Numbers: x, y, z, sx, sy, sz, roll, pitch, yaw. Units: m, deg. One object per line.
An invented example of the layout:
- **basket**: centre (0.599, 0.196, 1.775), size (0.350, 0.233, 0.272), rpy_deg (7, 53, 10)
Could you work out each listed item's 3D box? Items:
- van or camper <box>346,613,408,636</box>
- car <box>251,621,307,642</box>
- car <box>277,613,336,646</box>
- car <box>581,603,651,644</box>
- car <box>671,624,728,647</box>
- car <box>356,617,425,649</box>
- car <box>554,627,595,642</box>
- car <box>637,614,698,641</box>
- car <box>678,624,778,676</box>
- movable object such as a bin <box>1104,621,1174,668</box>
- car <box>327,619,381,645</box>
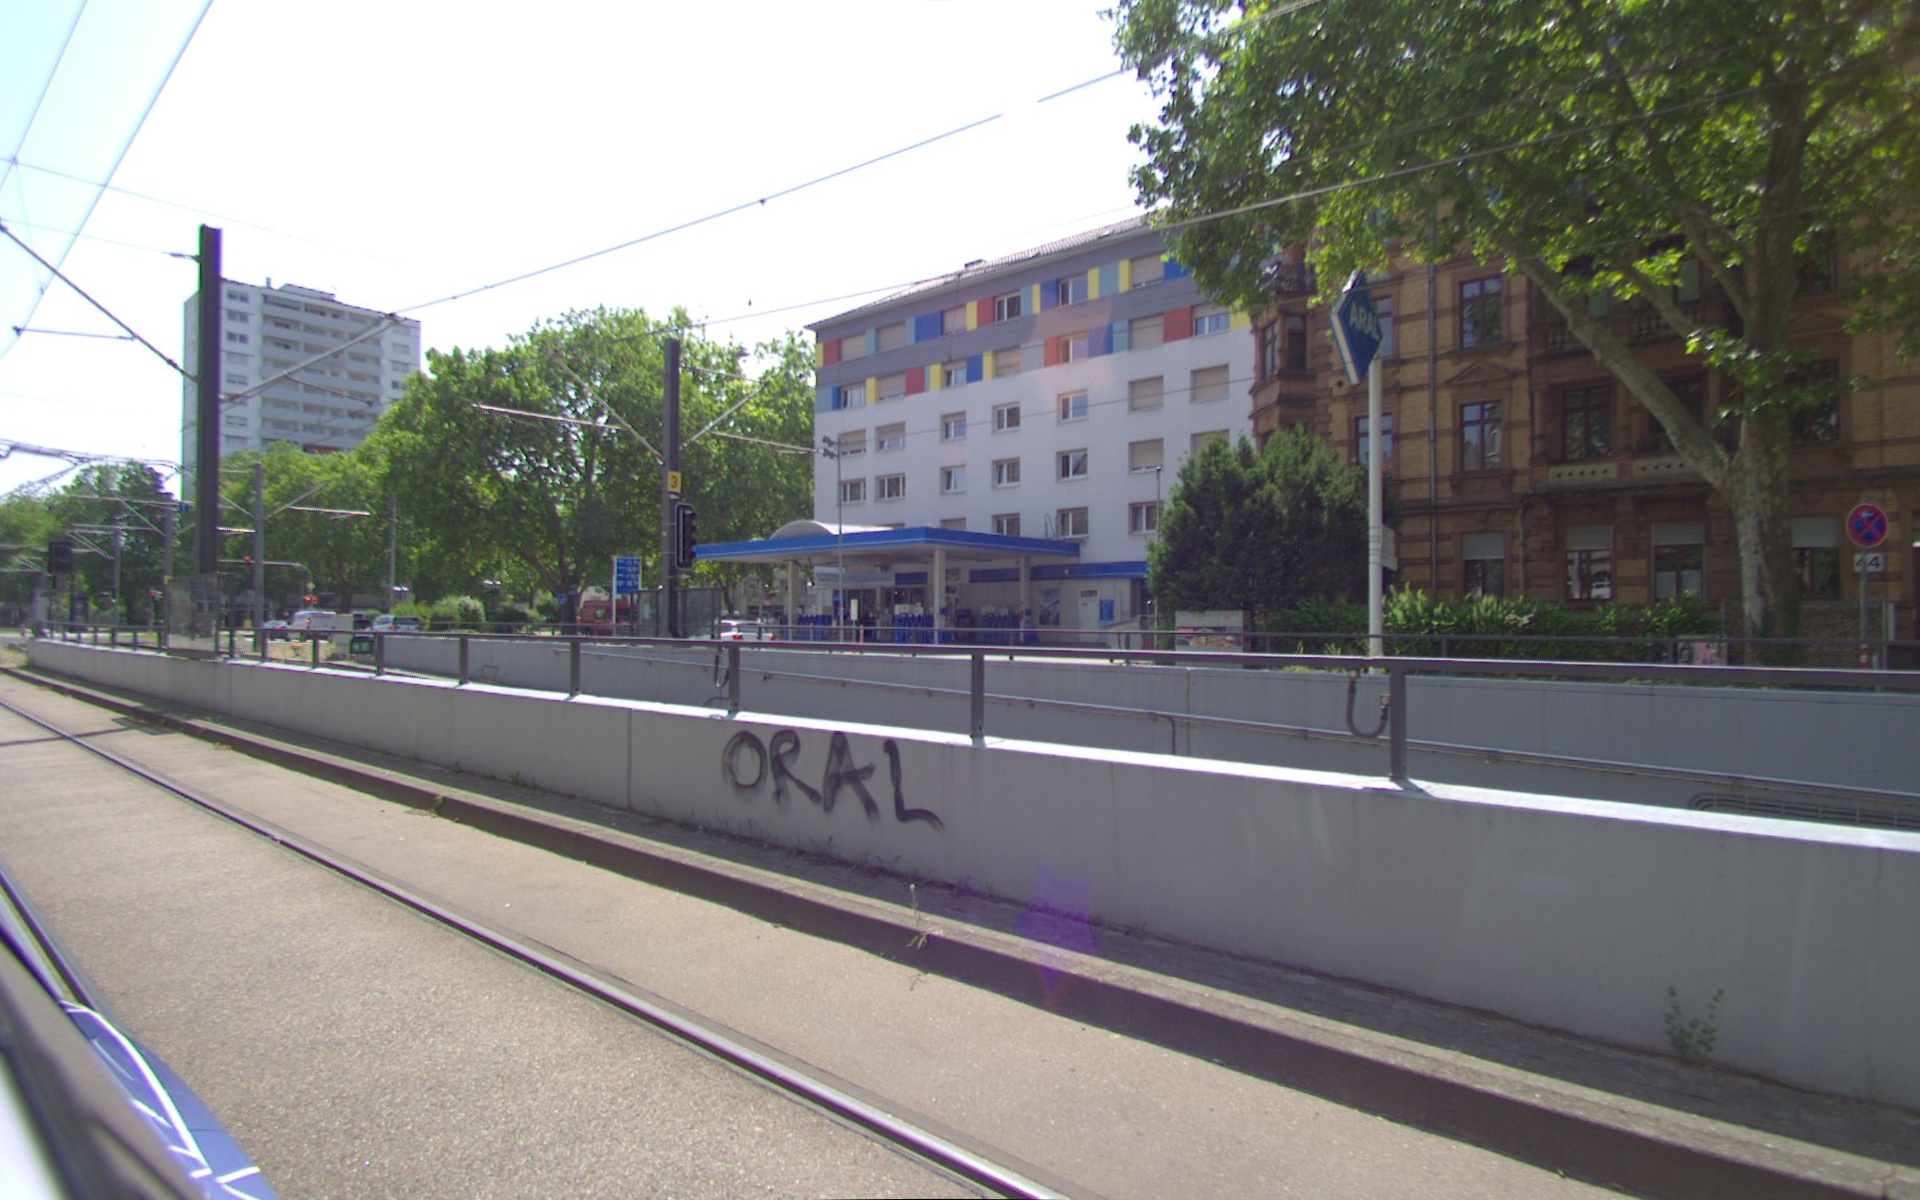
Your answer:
- **van or camper**: centre (-63.664, 2.658, 110.624), size (2.058, 2.480, 5.862), rpy_deg (-1, -1, 20)
- **car**: centre (-45.945, 2.123, 68.285), size (4.625, 1.369, 1.927), rpy_deg (-2, -3, 40)
- **car**: centre (-41.519, 1.851, 64.253), size (4.801, 2.006, 1.759), rpy_deg (-1, -2, 40)
- **car**: centre (-21.308, 1.415, 62.635), size (4.978, 2.410, 1.828), rpy_deg (0, 1, 41)
- **car**: centre (-17.825, 2.421, 69.086), size (3.998, 1.538, 1.843), rpy_deg (-2, -2, 41)
- **car**: centre (-30.896, 1.775, 54.851), size (4.601, 1.638, 1.827), rpy_deg (-1, -3, 42)
- **car**: centre (-36.004, 3.215, 94.591), size (1.471, 1.394, 3.300), rpy_deg (-1, -1, 40)
- **car**: centre (-19.285, 1.813, 66.674), size (3.998, 1.733, 1.973), rpy_deg (-1, -2, 41)
- **car**: centre (-7.578, 1.579, 32.887), size (1.525, 1.573, 3.884), rpy_deg (1, -1, -41)
- **movable object such as a bin**: centre (5.575, 1.362, 31.477), size (1.468, 1.395, 1.764), rpy_deg (-1, -2, 39)
- **car**: centre (-35.552, 1.861, 59.310), size (3.780, 1.431, 1.579), rpy_deg (-1, -4, 41)
